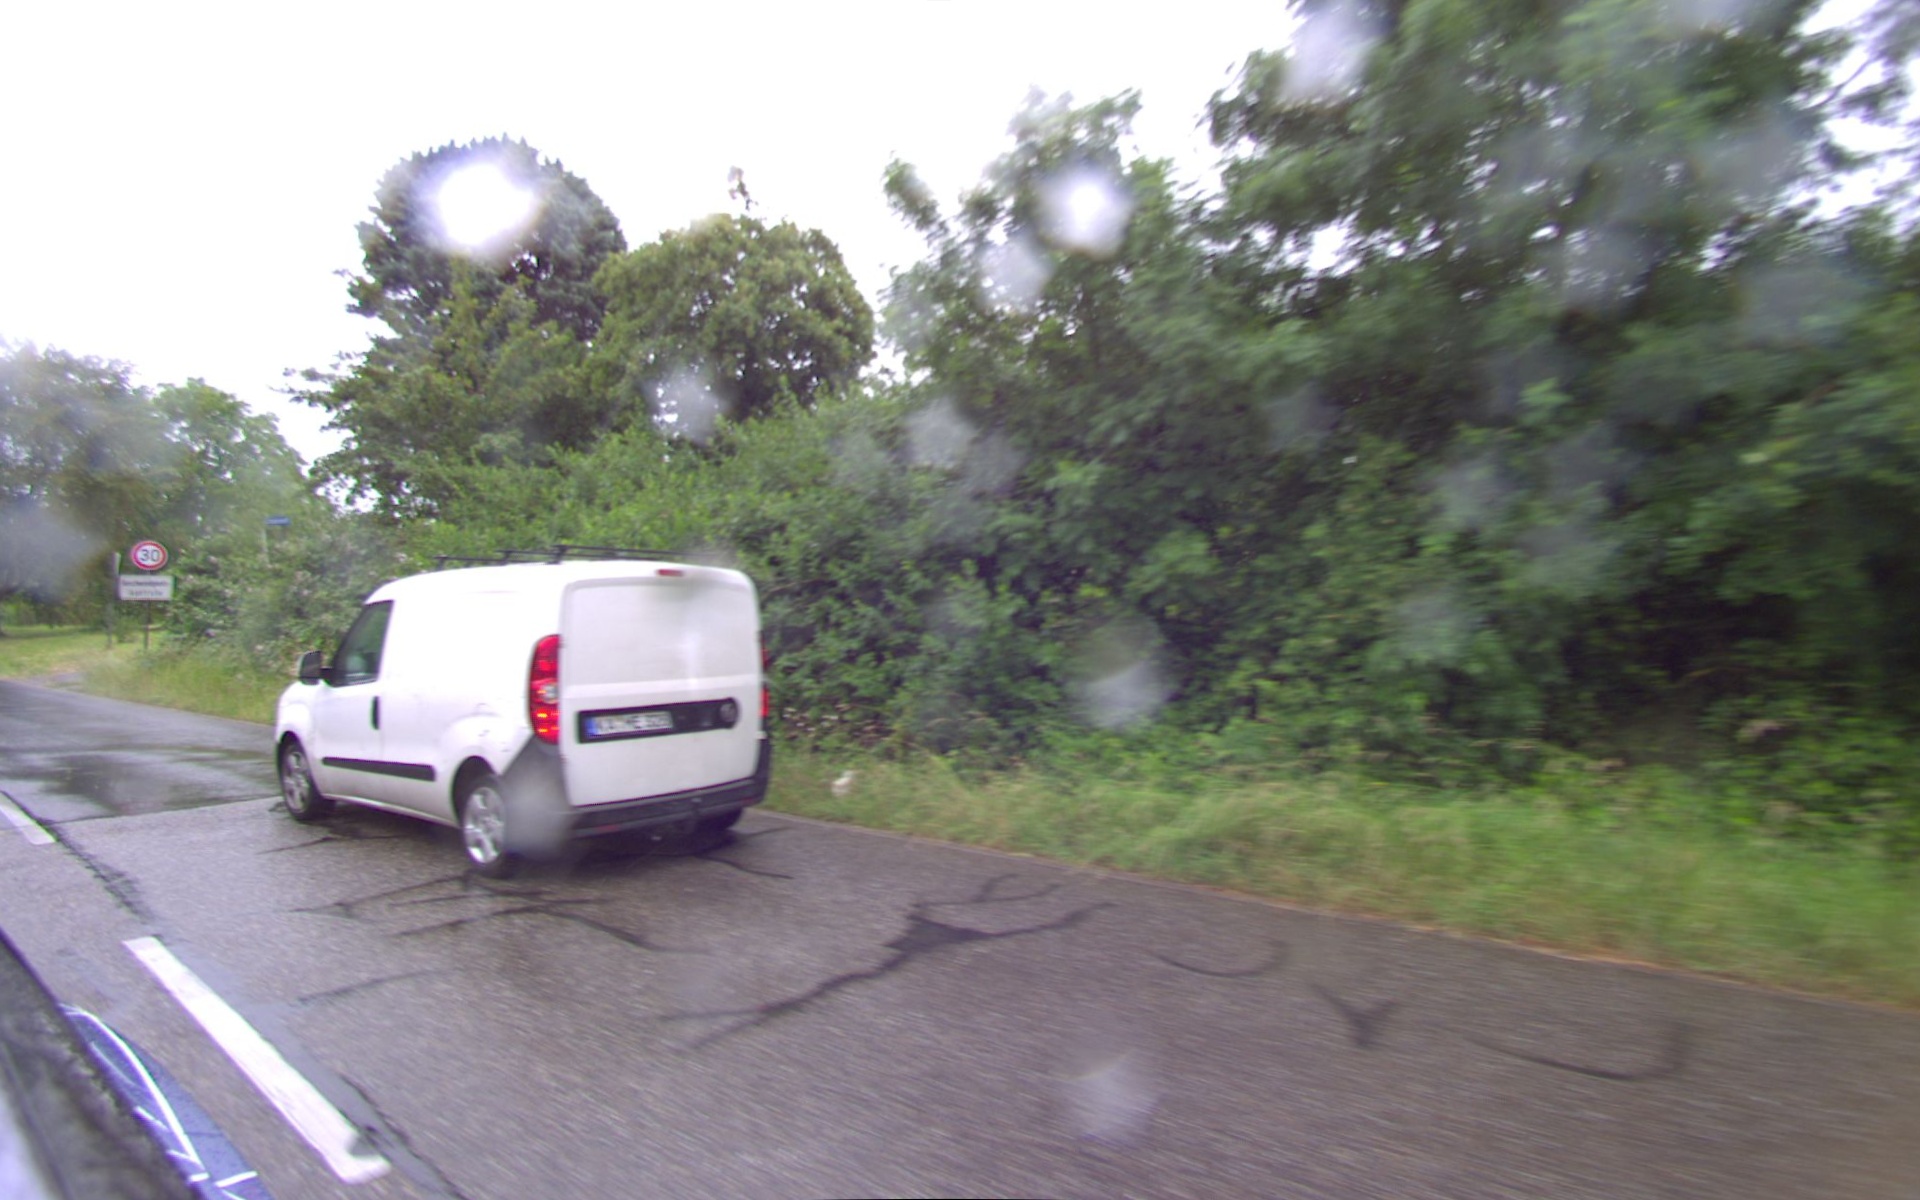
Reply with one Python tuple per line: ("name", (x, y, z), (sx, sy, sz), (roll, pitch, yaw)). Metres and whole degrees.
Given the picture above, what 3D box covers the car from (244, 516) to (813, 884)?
("car", (-3.196, 0.529, 7.110), (4.300, 1.845, 1.806), (-1, -1, 37))
